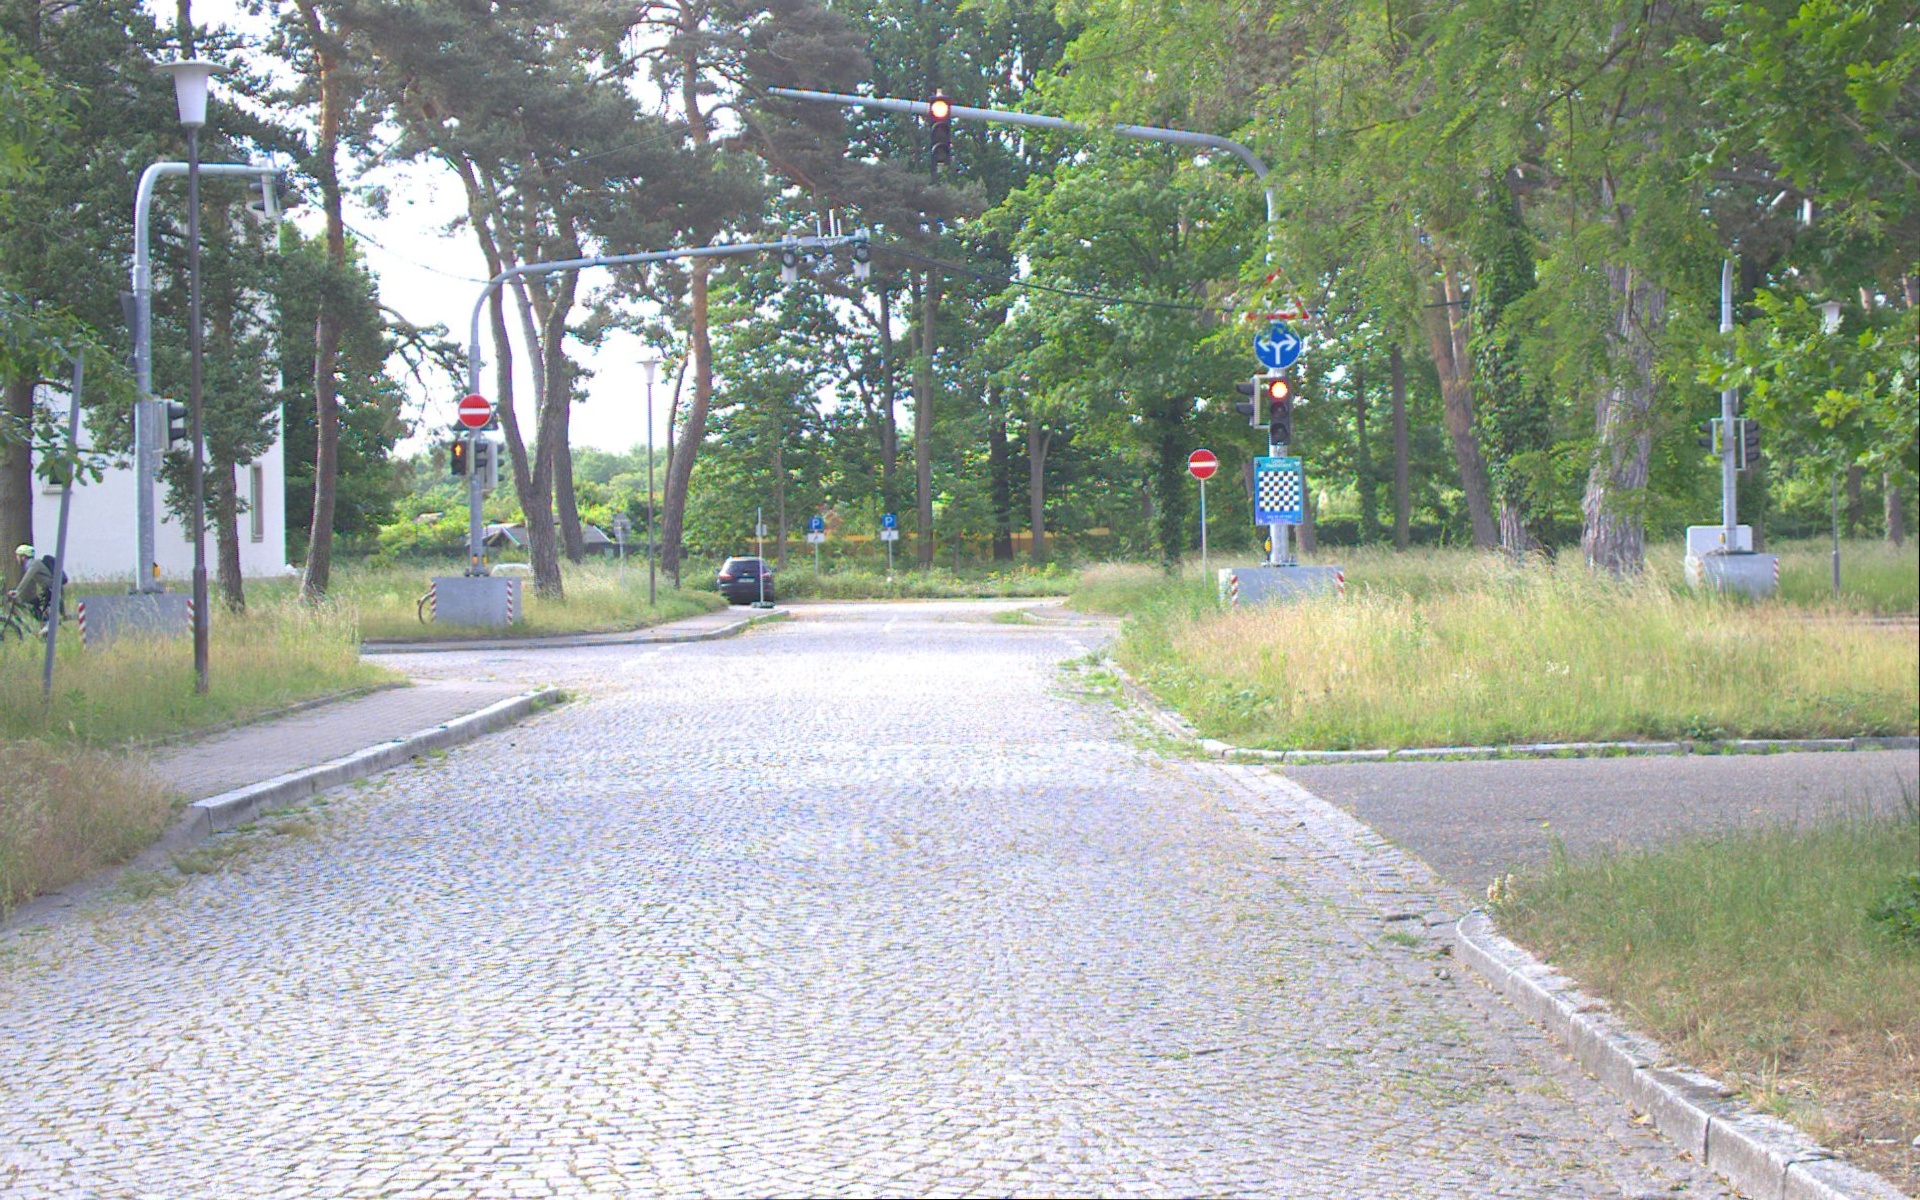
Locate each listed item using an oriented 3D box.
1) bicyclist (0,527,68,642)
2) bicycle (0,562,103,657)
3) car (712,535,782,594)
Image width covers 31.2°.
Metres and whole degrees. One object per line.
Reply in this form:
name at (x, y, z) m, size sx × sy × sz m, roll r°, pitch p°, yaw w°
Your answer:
bicyclist at (-13.981, -0.233, 51.717) m, size 0.920 × 1.691 × 0.957 m, roll -1°, pitch 0°, yaw -24°
bicycle at (-14.086, 0.138, 51.659) m, size 2.178 × 1.382 × 0.939 m, roll -1°, pitch 1°, yaw -24°
car at (-6.869, -1.177, 111.308) m, size 2.056 × 1.840 × 4.000 m, roll -1°, pitch 1°, yaw -1°
